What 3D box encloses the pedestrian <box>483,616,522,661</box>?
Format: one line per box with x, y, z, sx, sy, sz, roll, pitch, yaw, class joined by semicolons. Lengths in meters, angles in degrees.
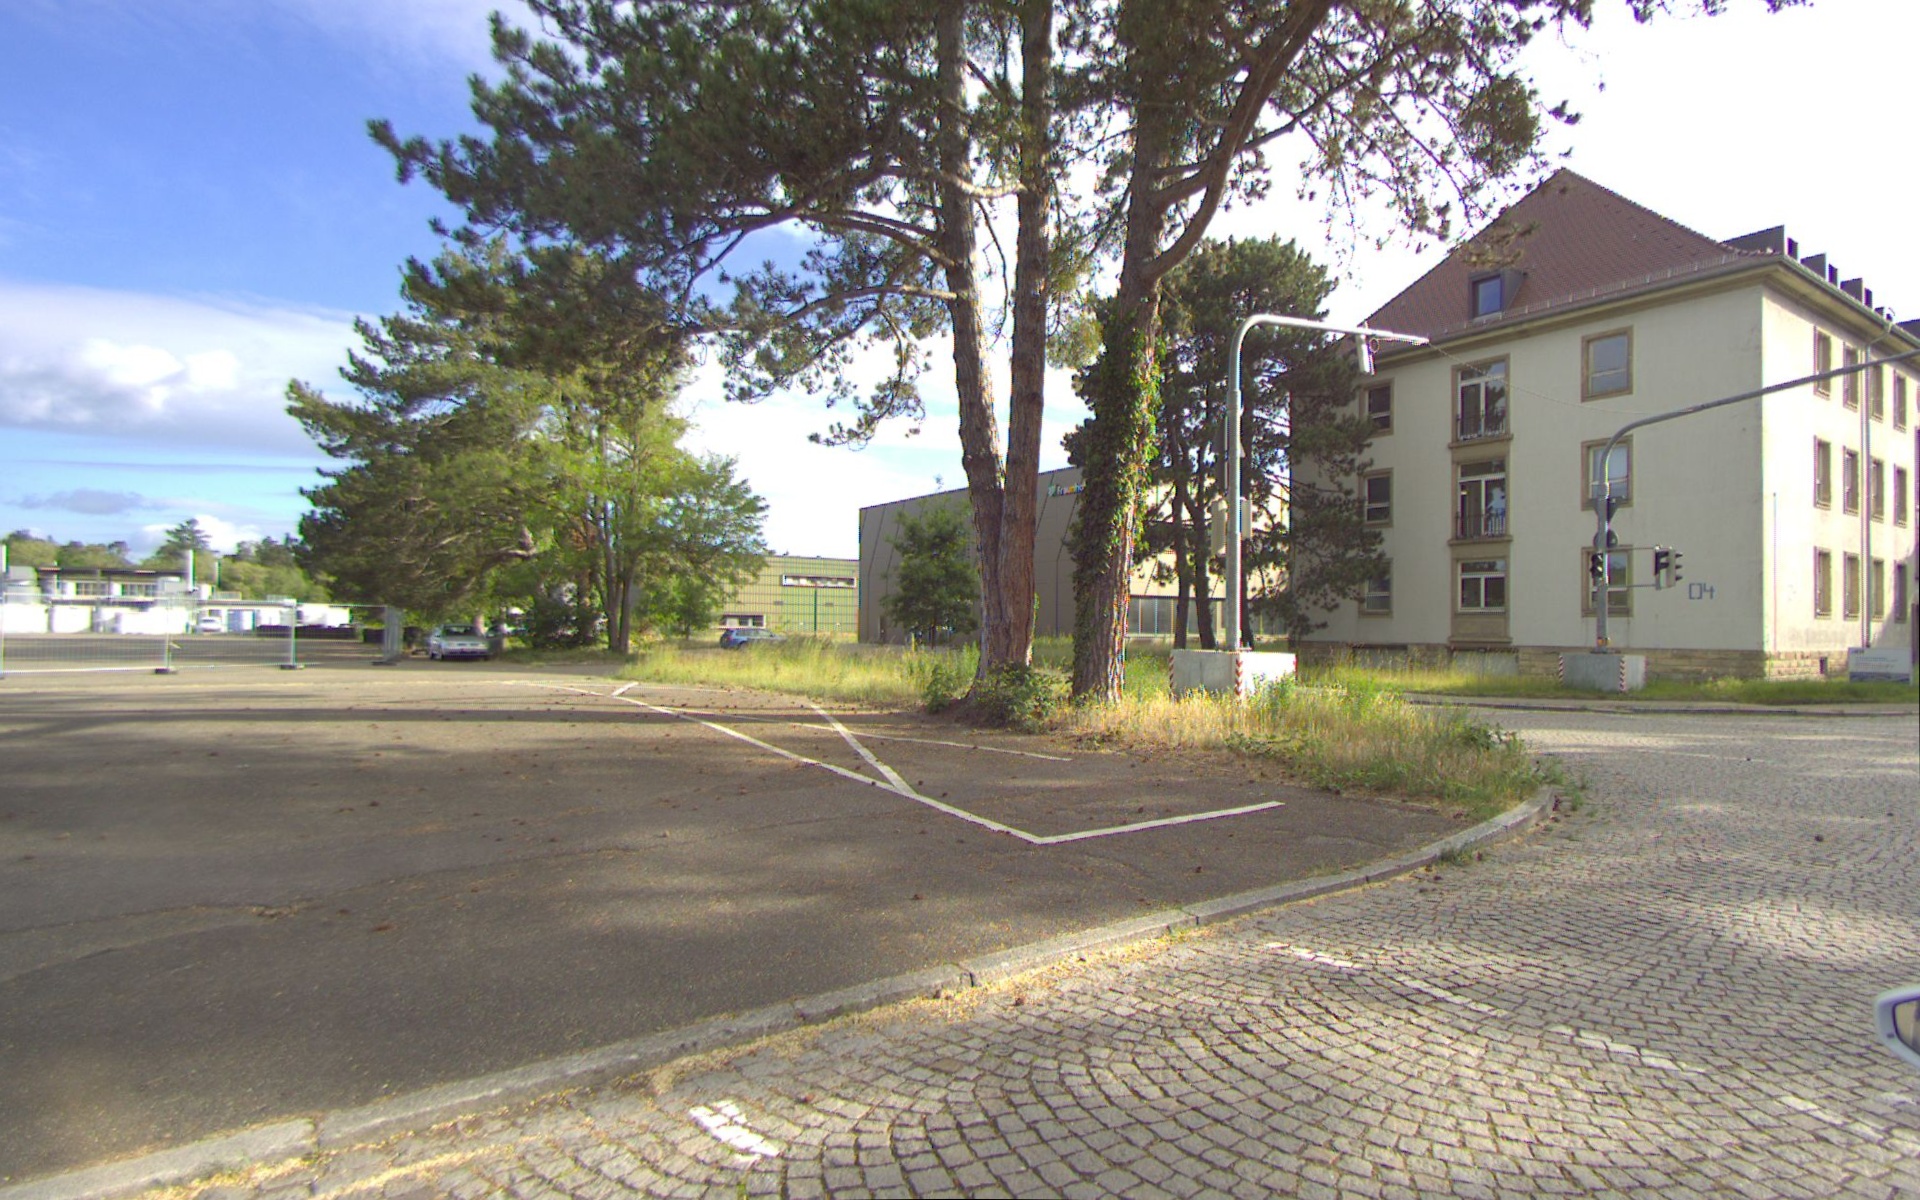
-18.163;1.529;39.901;0.862;1.767;1.095;1;-2;25;pedestrian

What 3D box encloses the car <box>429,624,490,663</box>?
-19.471;1.670;38.997;1.648;1.400;3.963;2;-2;-33;car

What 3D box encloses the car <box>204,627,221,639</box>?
-108.995;4.808;146.520;1.840;1.694;4.154;2;-2;-38;car

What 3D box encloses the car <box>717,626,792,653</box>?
-12.589;2.445;61.526;4.119;1.580;1.790;3;-2;-38;car
